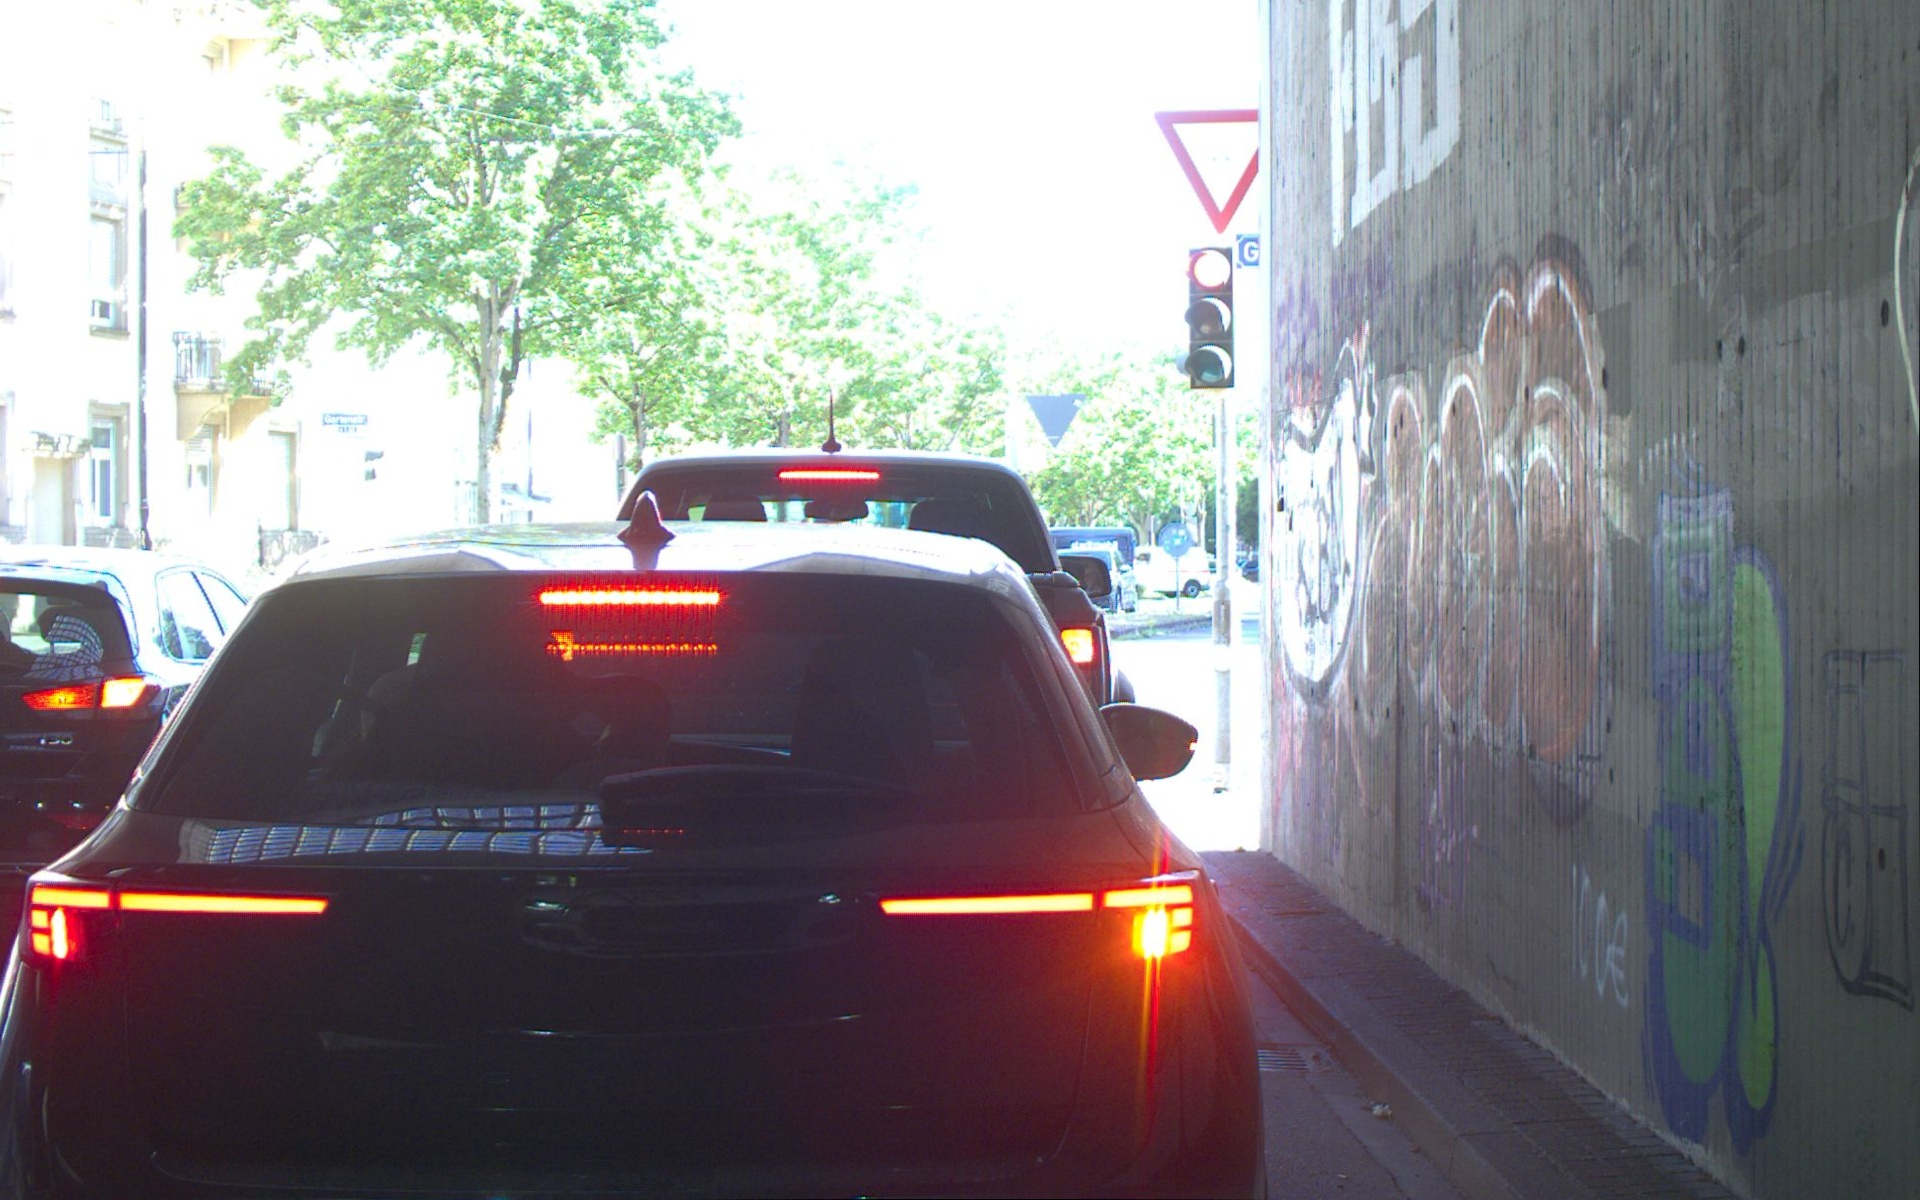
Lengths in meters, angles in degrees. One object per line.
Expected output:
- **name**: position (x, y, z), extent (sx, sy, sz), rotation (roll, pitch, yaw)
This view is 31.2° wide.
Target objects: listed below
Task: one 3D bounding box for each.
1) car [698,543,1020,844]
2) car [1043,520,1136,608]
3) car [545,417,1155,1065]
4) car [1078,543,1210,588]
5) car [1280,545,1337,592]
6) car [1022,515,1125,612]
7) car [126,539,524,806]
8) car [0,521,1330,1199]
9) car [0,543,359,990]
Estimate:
- **car**: position (-0.528, 0.436, 19.255), extent (1.609, 1.508, 4.054), rotation (0, 1, -1)
- **car**: position (2.600, -0.712, 68.310), extent (1.754, 1.661, 3.944), rotation (1, 1, 3)
- **car**: position (-0.343, 0.375, 12.035), extent (1.762, 1.876, 4.146), rotation (0, 1, -1)
- **car**: position (7.161, -1.352, 133.924), extent (4.799, 1.661, 1.824), rotation (1, 1, -24)
- **car**: position (12.903, -1.164, 127.291), extent (1.754, 1.661, 3.943), rotation (1, 1, 11)
- **car**: position (2.080, -0.657, 62.191), extent (1.754, 1.661, 3.944), rotation (1, 1, 3)
- **car**: position (-3.770, 0.371, 21.007), extent (1.762, 1.475, 3.844), rotation (0, 1, -1)
- **car**: position (-0.470, 0.638, 6.095), extent (1.762, 1.526, 4.089), rotation (0, 1, -1)
- **car**: position (-3.520, 0.518, 13.283), extent (1.762, 1.475, 3.844), rotation (0, 1, -1)
